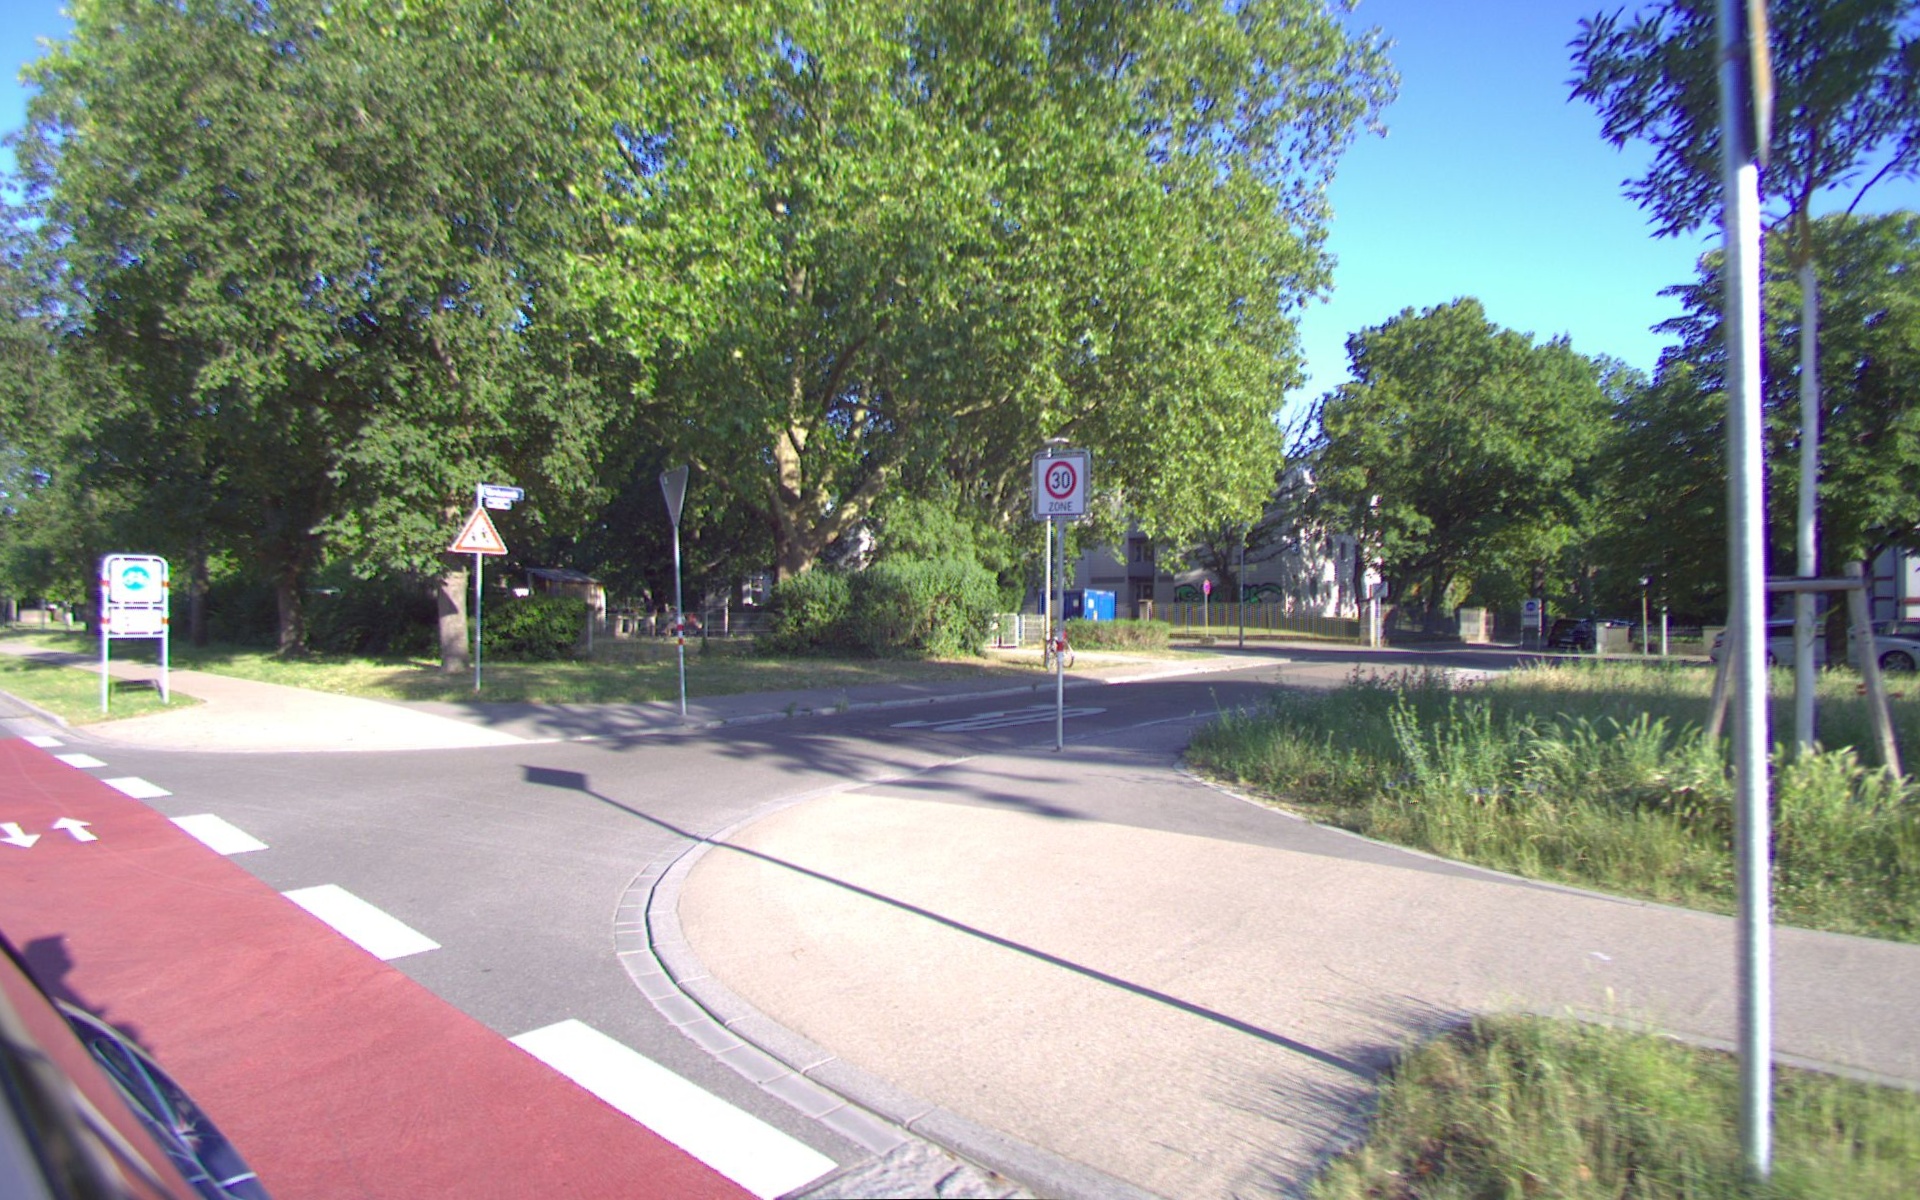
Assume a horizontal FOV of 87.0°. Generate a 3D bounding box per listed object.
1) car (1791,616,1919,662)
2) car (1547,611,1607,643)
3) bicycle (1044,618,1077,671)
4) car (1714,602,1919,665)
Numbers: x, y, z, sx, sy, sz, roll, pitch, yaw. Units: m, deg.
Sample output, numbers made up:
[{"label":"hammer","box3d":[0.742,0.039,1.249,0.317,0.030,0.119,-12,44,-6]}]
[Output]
[{"label":"car","box3d":[27.869,1.146,30.574,4.216,1.325,1.676,-1,-1,39]},{"label":"car","box3d":[30.640,1.332,50.226,1.833,1.567,3.943,-1,-2,43]},{"label":"bicycle","box3d":[2.374,1.018,23.814,0.417,1.196,1.579,0,-1,19]},{"label":"car","box3d":[23.593,0.888,27.647,4.751,1.609,1.676,-1,-1,39]}]
